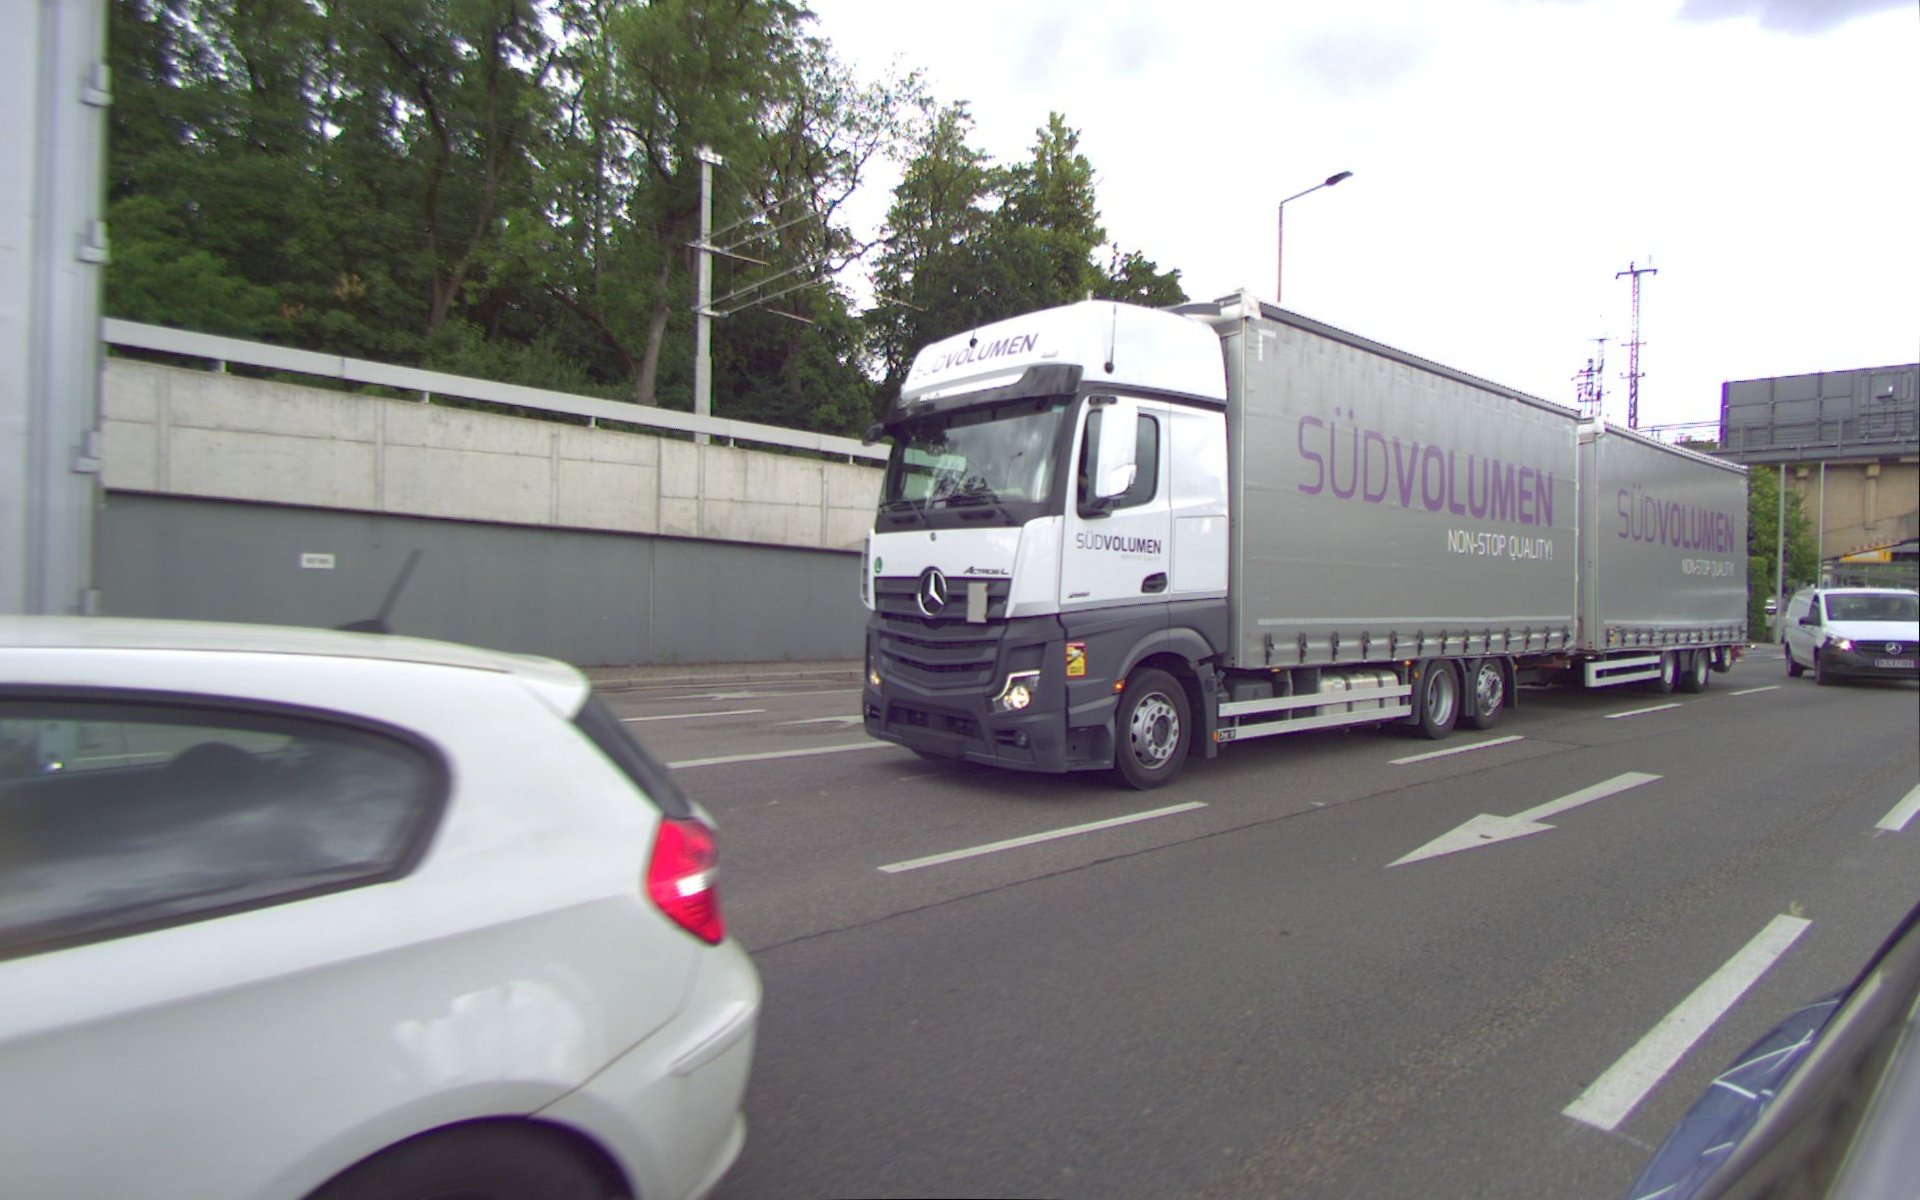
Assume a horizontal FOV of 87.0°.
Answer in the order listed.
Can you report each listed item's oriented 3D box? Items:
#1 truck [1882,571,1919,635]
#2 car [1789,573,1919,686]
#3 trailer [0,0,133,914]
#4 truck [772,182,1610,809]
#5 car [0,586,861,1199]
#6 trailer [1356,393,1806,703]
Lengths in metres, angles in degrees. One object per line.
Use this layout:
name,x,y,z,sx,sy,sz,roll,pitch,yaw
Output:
truck,56.904,0.169,59.135,2.554,3.613,9.018,0,0,30
car,18.240,0.506,20.191,1.985,2.015,5.139,0,0,32
trailer,-8.901,-1.200,1.443,11.902,4.690,3.811,0,0,-41
truck,3.507,-0.727,11.691,10.788,4.194,3.732,0,0,-40
car,-2.381,0.693,1.339,4.269,1.416,1.720,0,0,-39
trailer,11.820,-0.733,18.566,10.786,4.194,3.732,0,0,-39
